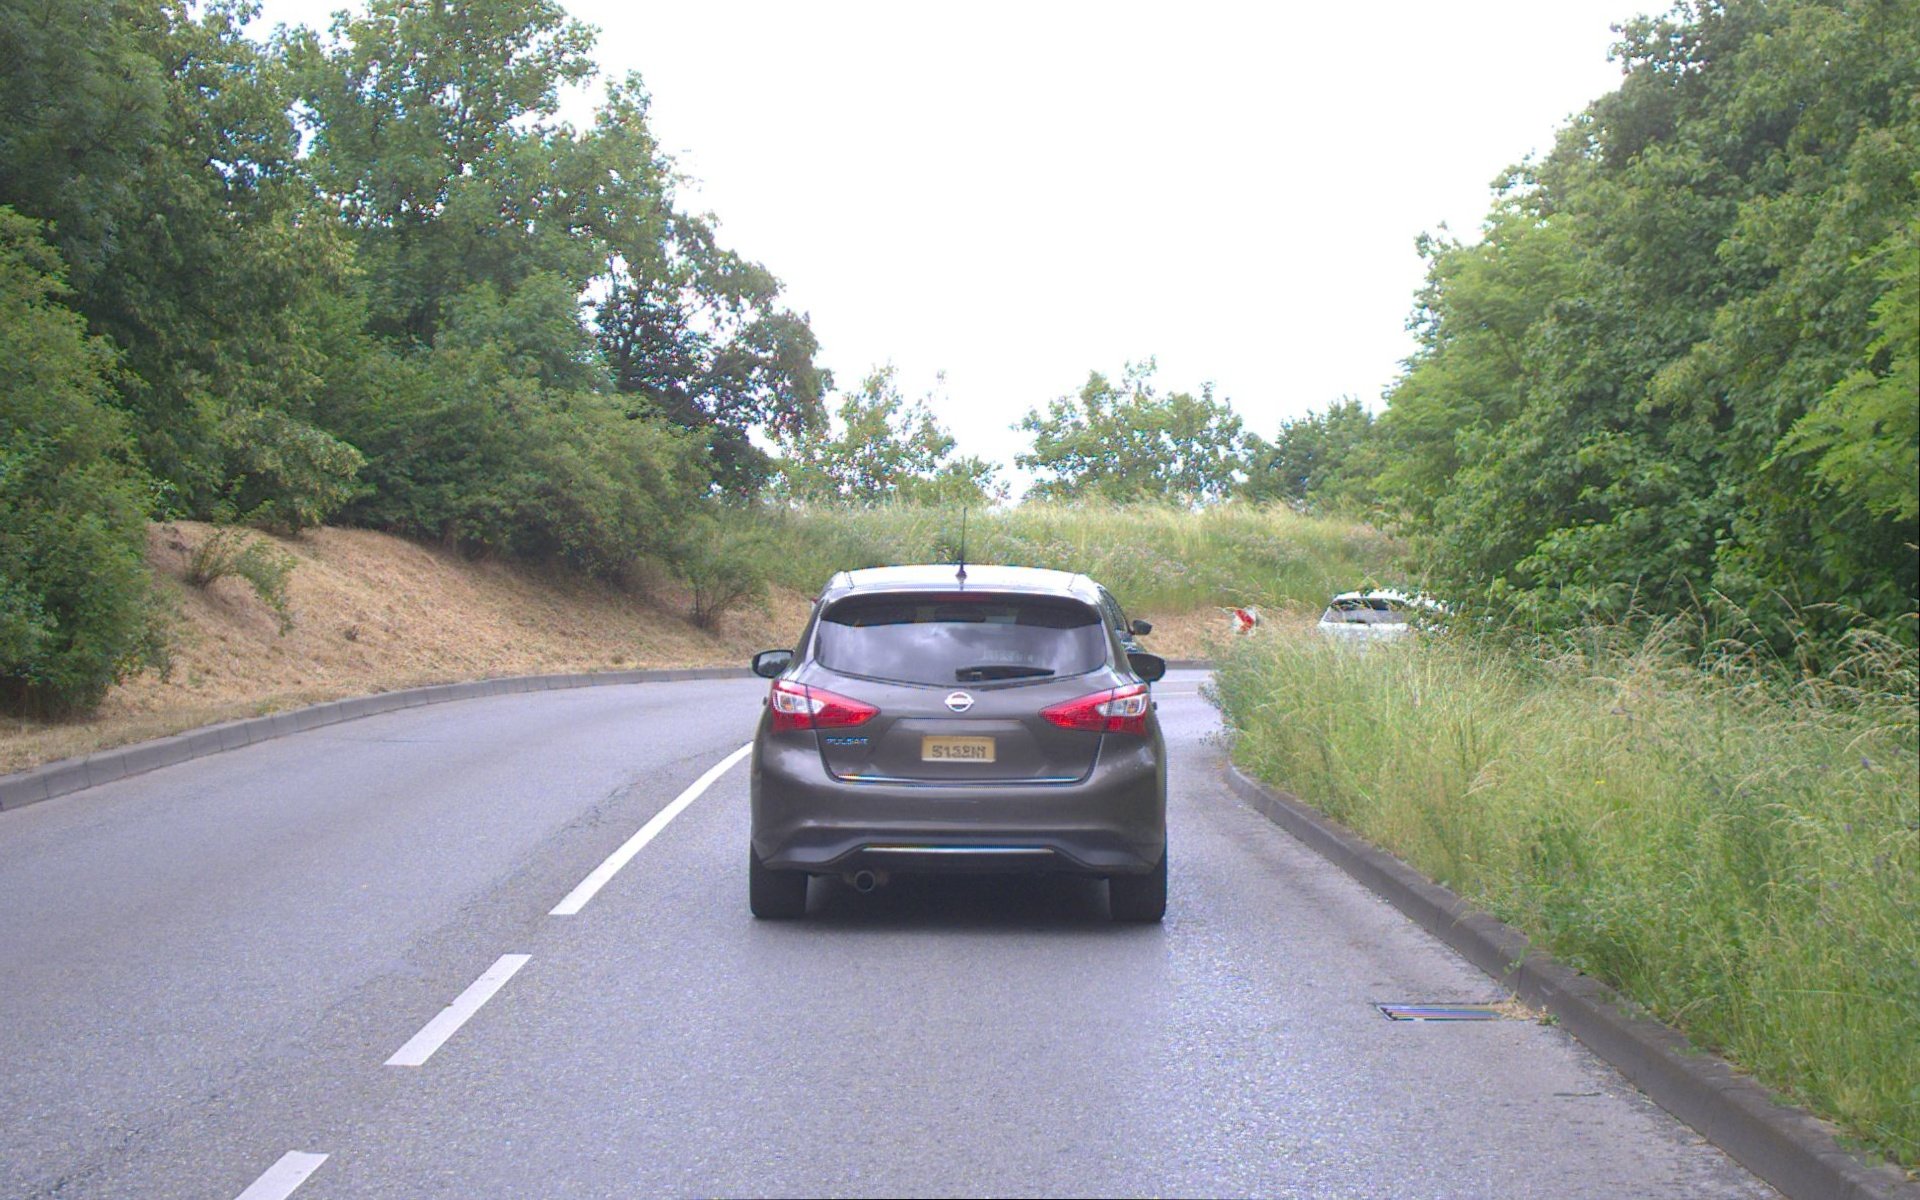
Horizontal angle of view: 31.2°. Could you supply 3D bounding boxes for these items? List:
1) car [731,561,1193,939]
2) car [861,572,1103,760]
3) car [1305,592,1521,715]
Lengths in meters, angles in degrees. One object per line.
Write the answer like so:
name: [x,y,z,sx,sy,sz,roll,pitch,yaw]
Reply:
car: [-0.084,0.583,15.837,1.844,1.488,4.001,1,1,-3]
car: [0.121,0.530,30.632,1.844,1.488,4.228,-1,1,-4]
car: [5.986,0.666,45.172,1.723,1.489,3.572,0,1,27]
